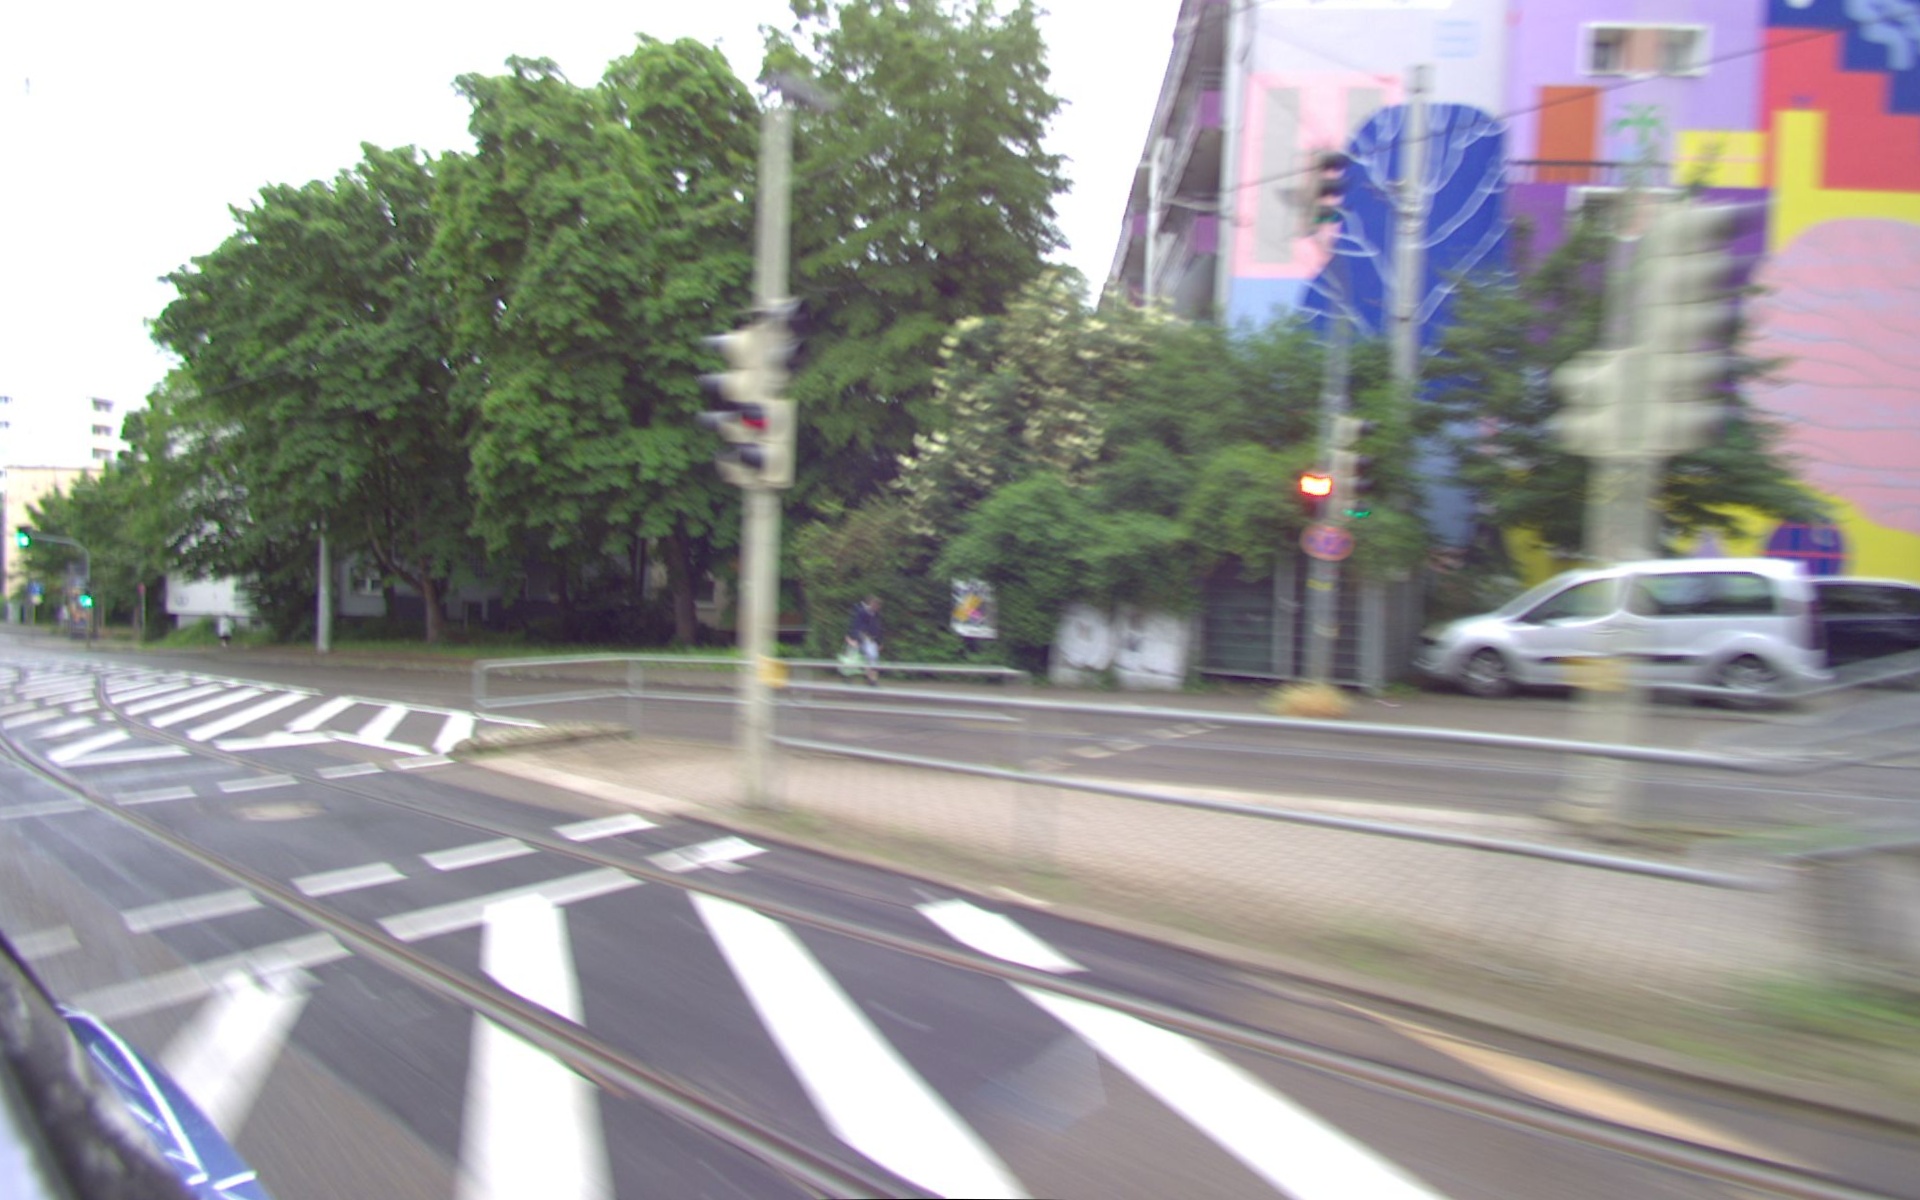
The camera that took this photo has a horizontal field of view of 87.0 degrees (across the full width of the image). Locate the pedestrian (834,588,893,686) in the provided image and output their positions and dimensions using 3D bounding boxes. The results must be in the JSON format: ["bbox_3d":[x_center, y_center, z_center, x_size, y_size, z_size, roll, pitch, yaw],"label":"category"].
[{"bbox_3d":[-1.650,0.615,17.345,0.617,1.605,0.745,-1,1,41],"label":"pedestrian"}]

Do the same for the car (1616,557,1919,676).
[{"bbox_3d":[12.739,0.233,15.667,3.910,1.650,1.706,2,0,10],"label":"car"}]

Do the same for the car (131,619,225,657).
[{"bbox_3d":[-42.615,2.052,55.180,3.937,1.763,2.003,-3,1,-40],"label":"car"}]

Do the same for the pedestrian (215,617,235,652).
[{"bbox_3d":[-31.242,1.466,43.001,0.528,1.437,0.523,-1,1,41],"label":"pedestrian"}]

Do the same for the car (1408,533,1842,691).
[{"bbox_3d":[8.391,0.179,13.118,4.435,1.730,1.730,-2,-1,38],"label":"car"}]
